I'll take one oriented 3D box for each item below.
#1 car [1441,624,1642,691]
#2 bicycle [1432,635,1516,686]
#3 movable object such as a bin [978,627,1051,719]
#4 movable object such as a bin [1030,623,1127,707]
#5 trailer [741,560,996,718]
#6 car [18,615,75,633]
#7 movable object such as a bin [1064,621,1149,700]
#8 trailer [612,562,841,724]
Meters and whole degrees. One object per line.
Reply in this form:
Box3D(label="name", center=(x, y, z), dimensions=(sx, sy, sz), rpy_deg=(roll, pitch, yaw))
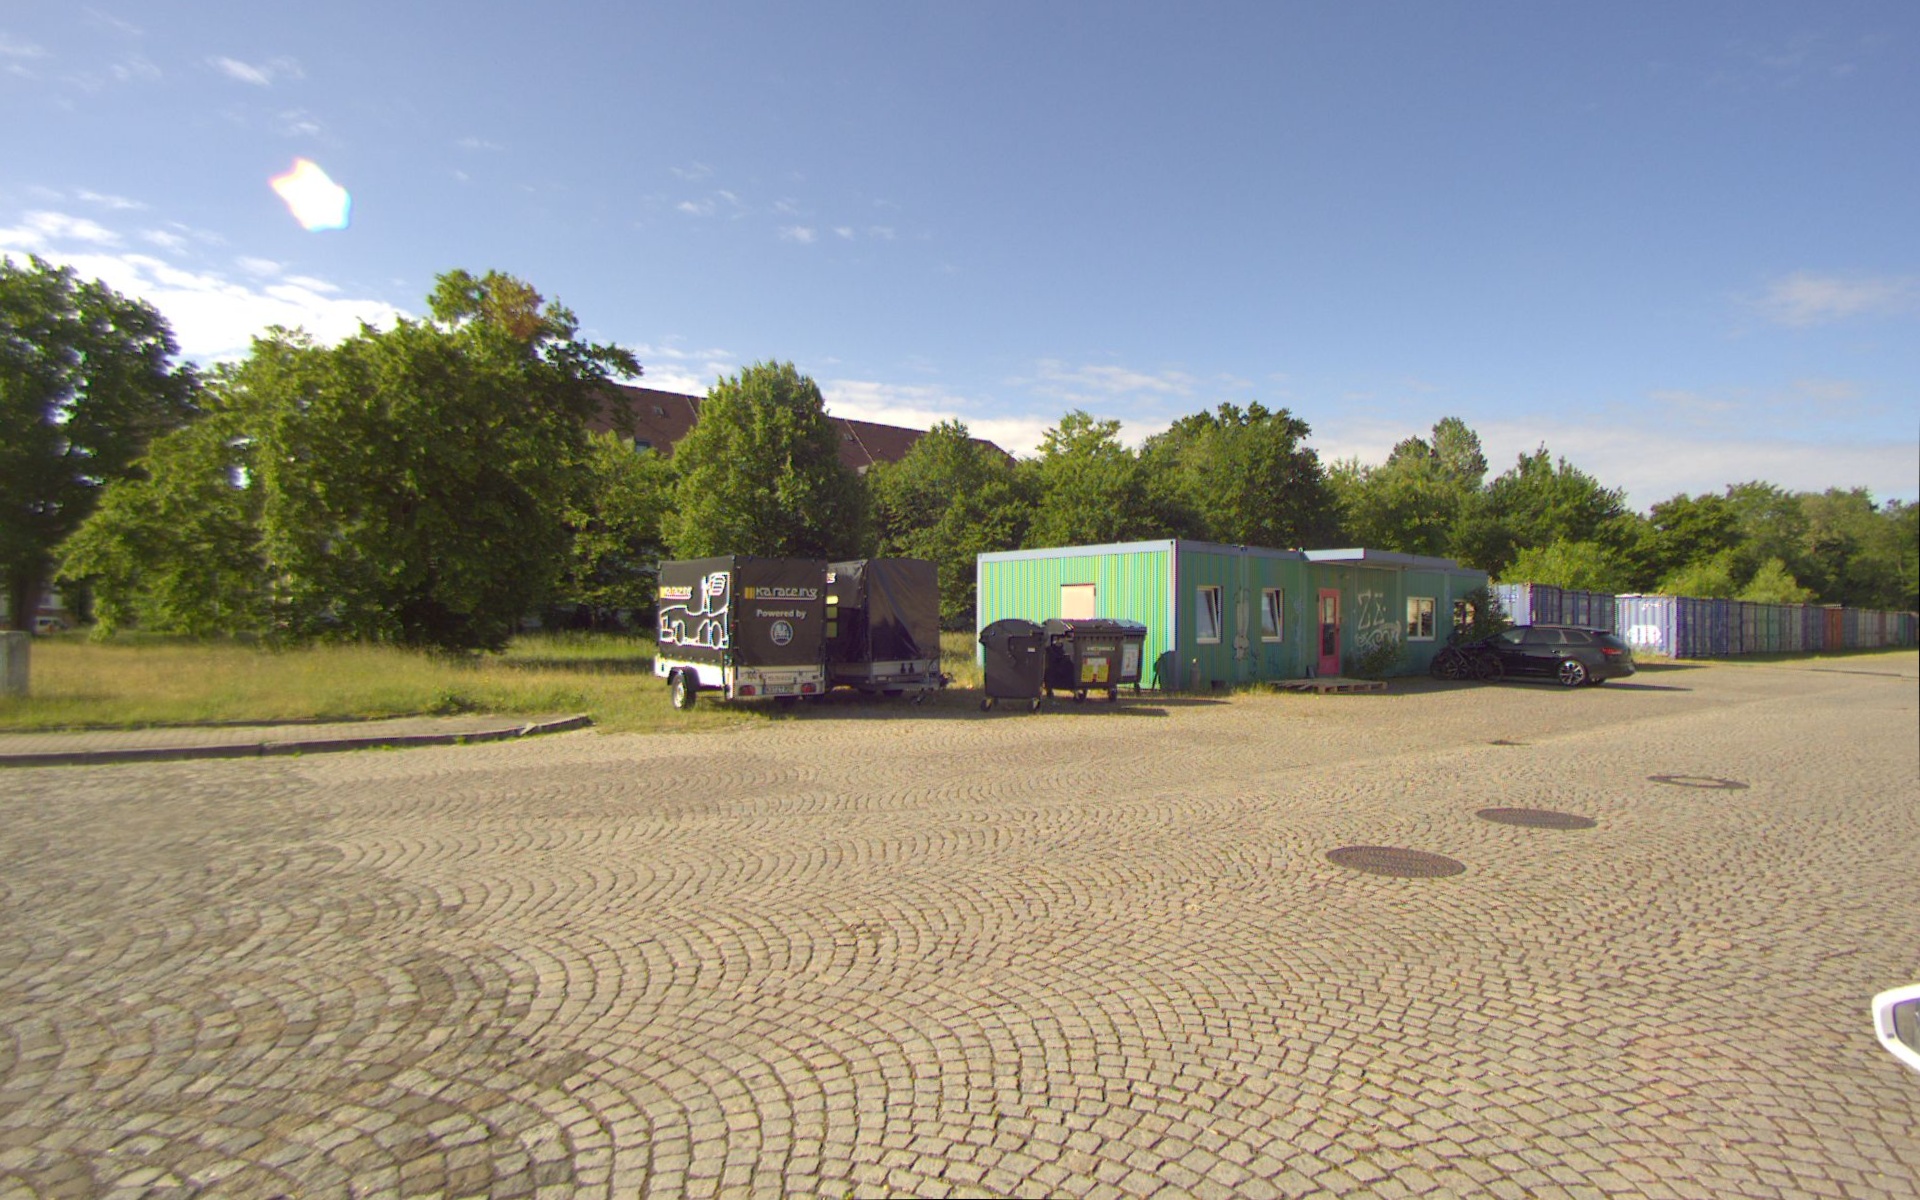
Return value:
Box3D(label="car", center=(14.378, 1.376, 24.964), dimensions=(1.720, 1.431, 4.010), rpy_deg=(2, -1, -43))
Box3D(label="bicycle", center=(12.567, 1.459, 24.605), dimensions=(0.668, 1.116, 1.695), rpy_deg=(1, 0, -38))
Box3D(label="movable object such as a bin", center=(0.894, 1.134, 16.160), dimensions=(1.026, 1.404, 1.365), rpy_deg=(0, -1, 9))
Box3D(label="movable object such as a bin", center=(2.100, 1.125, 17.864), dimensions=(1.355, 1.404, 1.073), rpy_deg=(1, -1, -35))
Box3D(label="trailer", center=(-1.756, 0.605, 17.757), dimensions=(1.929, 2.423, 4.793), rpy_deg=(1, -1, -43))
Box3D(label="car", center=(-109.592, 2.897, 120.541), dimensions=(4.832, 2.123, 1.978), rpy_deg=(2, -2, -39))
Box3D(label="movable object such as a bin", center=(2.859, 1.145, 19.549), dimensions=(1.072, 1.456, 1.402), rpy_deg=(-1, -2, 40))
Box3D(label="trailer", center=(-3.983, 0.618, 16.599), dimensions=(1.996, 2.303, 4.419), rpy_deg=(1, 0, -38))
